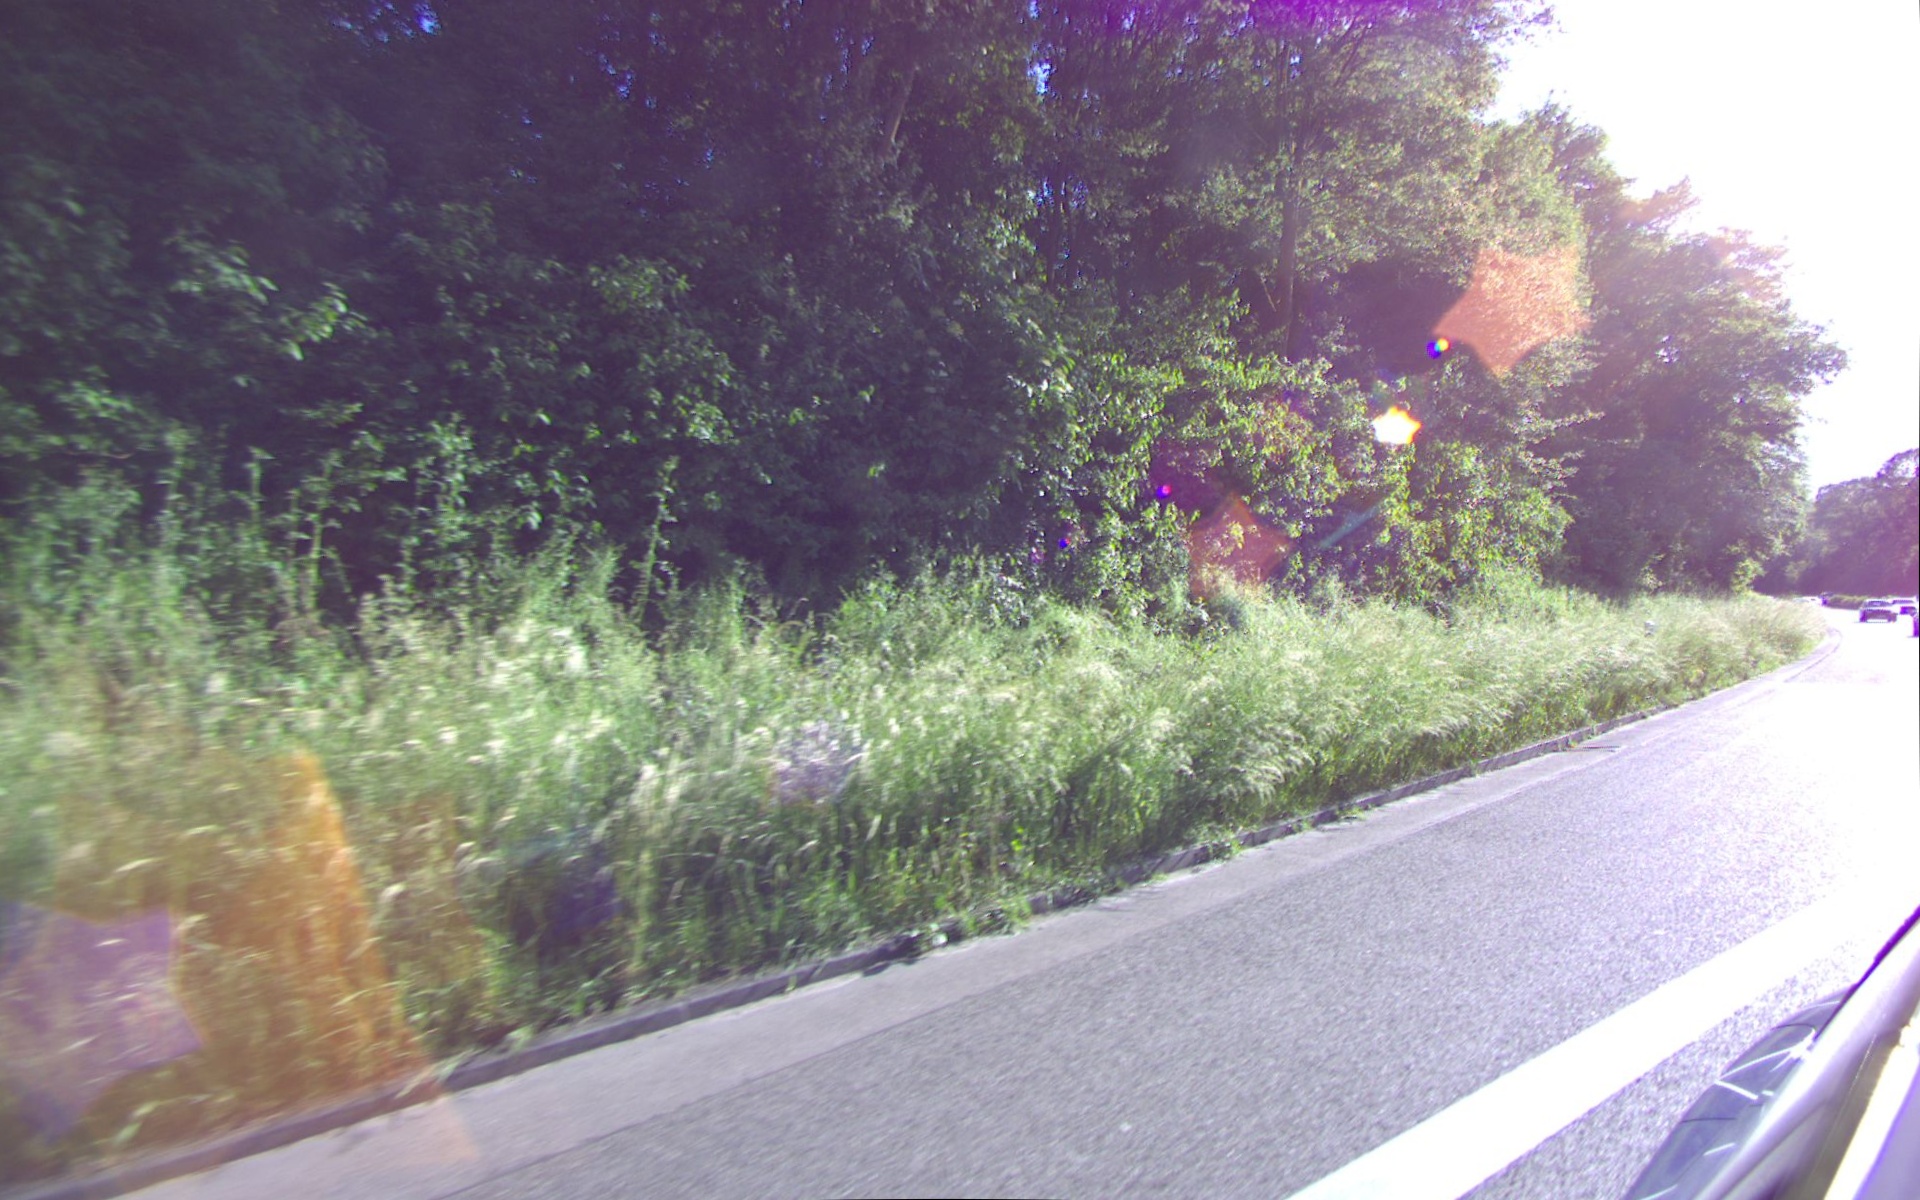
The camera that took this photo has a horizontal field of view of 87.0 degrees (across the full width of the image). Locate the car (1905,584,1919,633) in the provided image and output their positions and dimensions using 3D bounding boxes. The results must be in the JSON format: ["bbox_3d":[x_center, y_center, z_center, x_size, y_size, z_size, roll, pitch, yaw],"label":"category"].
[{"bbox_3d":[42.896,0.329,44.177,2.249,1.876,5.066,0,3,42],"label":"car"}]

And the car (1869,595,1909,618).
[{"bbox_3d":[64.249,0.411,70.061,1.928,1.527,5.010,1,1,41],"label":"car"}]
